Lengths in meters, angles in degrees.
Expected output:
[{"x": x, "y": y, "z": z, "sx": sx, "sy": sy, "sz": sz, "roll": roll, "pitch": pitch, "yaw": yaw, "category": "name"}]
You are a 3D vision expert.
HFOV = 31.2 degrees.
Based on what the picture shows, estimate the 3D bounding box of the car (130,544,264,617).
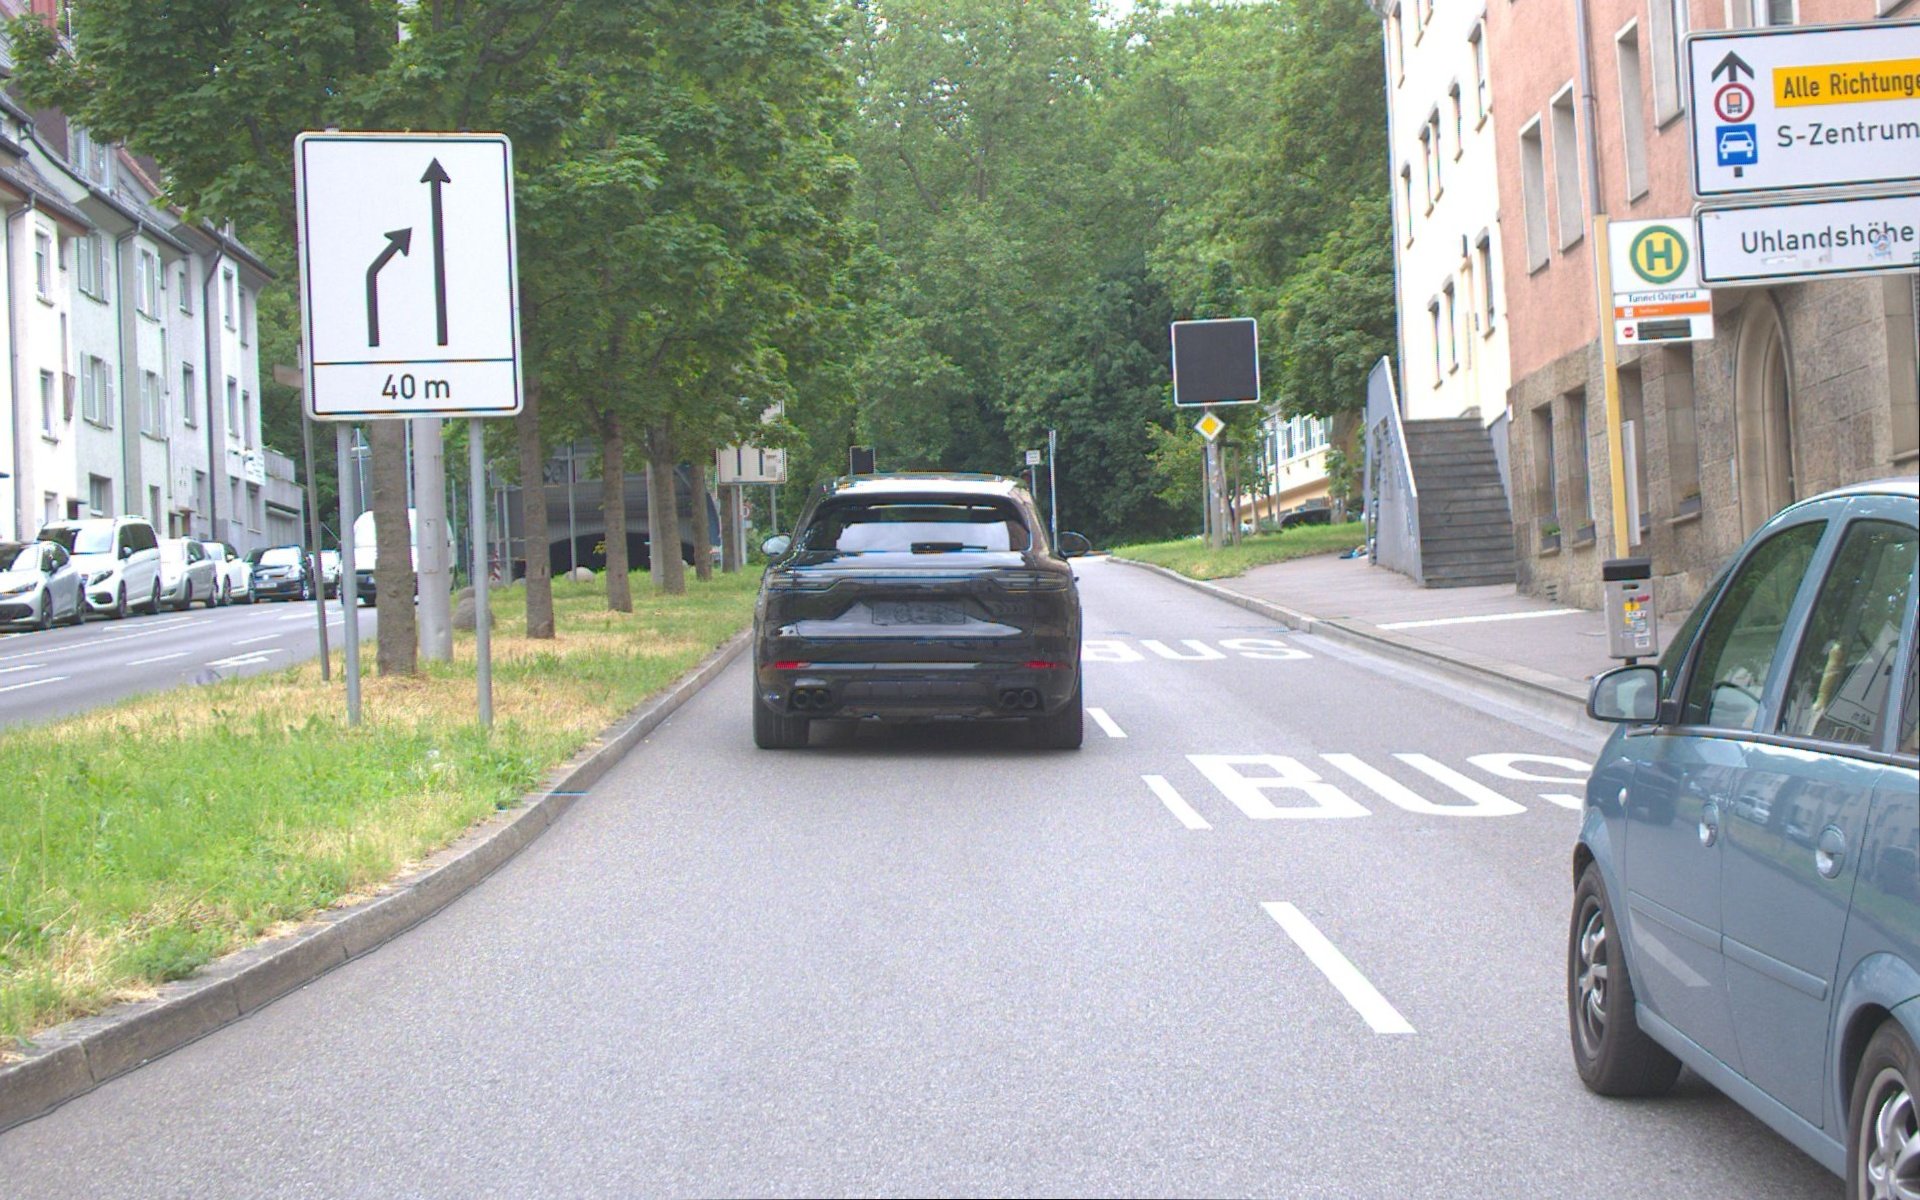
[{"x": -16.810, "y": -0.447, "z": 75.945, "sx": 1.993, "sy": 1.469, "sz": 4.158, "roll": -3, "pitch": 1, "yaw": 0, "category": "car"}]

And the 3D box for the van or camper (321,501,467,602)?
[{"x": -10.515, "y": -0.919, "z": 64.166, "sx": 1.908, "sy": 1.755, "sz": 4.655, "roll": -2, "pitch": 1, "yaw": 0, "category": "van or camper"}]

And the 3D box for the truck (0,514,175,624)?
[{"x": -16.482, "y": -0.616, "z": 65.223, "sx": 1.993, "sy": 1.913, "sz": 5.348, "roll": -3, "pitch": 1, "yaw": -2, "category": "truck"}]

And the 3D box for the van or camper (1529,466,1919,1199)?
[{"x": 2.400, "y": 0.518, "z": 7.266, "sx": 1.735, "sy": 1.572, "sz": 3.646, "roll": 0, "pitch": 2, "yaw": -1, "category": "van or camper"}]

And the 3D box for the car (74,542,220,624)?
[{"x": -16.641, "y": -0.380, "z": 70.536, "sx": 1.993, "sy": 1.547, "sz": 4.382, "roll": -3, "pitch": 1, "yaw": -2, "category": "car"}]

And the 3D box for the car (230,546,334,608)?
[{"x": -16.779, "y": -0.584, "z": 85.265, "sx": 1.993, "sy": 1.418, "sz": 4.212, "roll": -3, "pitch": 1, "yaw": -4, "category": "car"}]

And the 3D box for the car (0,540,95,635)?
[{"x": -16.362, "y": -0.215, "z": 59.044, "sx": 1.993, "sy": 1.547, "sz": 4.158, "roll": -3, "pitch": 1, "yaw": -2, "category": "car"}]

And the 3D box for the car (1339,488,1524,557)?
[{"x": 11.663, "y": -1.918, "z": 85.058, "sx": 4.116, "sy": 1.423, "sz": 1.863, "roll": -4, "pitch": 2, "yaw": -24, "category": "car"}]

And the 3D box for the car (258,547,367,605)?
[{"x": -17.060, "y": -0.629, "z": 90.738, "sx": 1.993, "sy": 1.395, "sz": 4.518, "roll": -3, "pitch": 0, "yaw": 0, "category": "car"}]

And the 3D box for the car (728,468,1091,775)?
[{"x": -0.262, "y": 0.102, "z": 21.724, "sx": 1.993, "sy": 1.647, "sz": 4.000, "roll": -3, "pitch": 1, "yaw": 1, "category": "car"}]

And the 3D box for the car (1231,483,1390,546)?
[{"x": 9.118, "y": -2.224, "z": 89.166, "sx": 1.998, "sy": 1.413, "sz": 3.990, "roll": -2, "pitch": 2, "yaw": 44, "category": "car"}]
